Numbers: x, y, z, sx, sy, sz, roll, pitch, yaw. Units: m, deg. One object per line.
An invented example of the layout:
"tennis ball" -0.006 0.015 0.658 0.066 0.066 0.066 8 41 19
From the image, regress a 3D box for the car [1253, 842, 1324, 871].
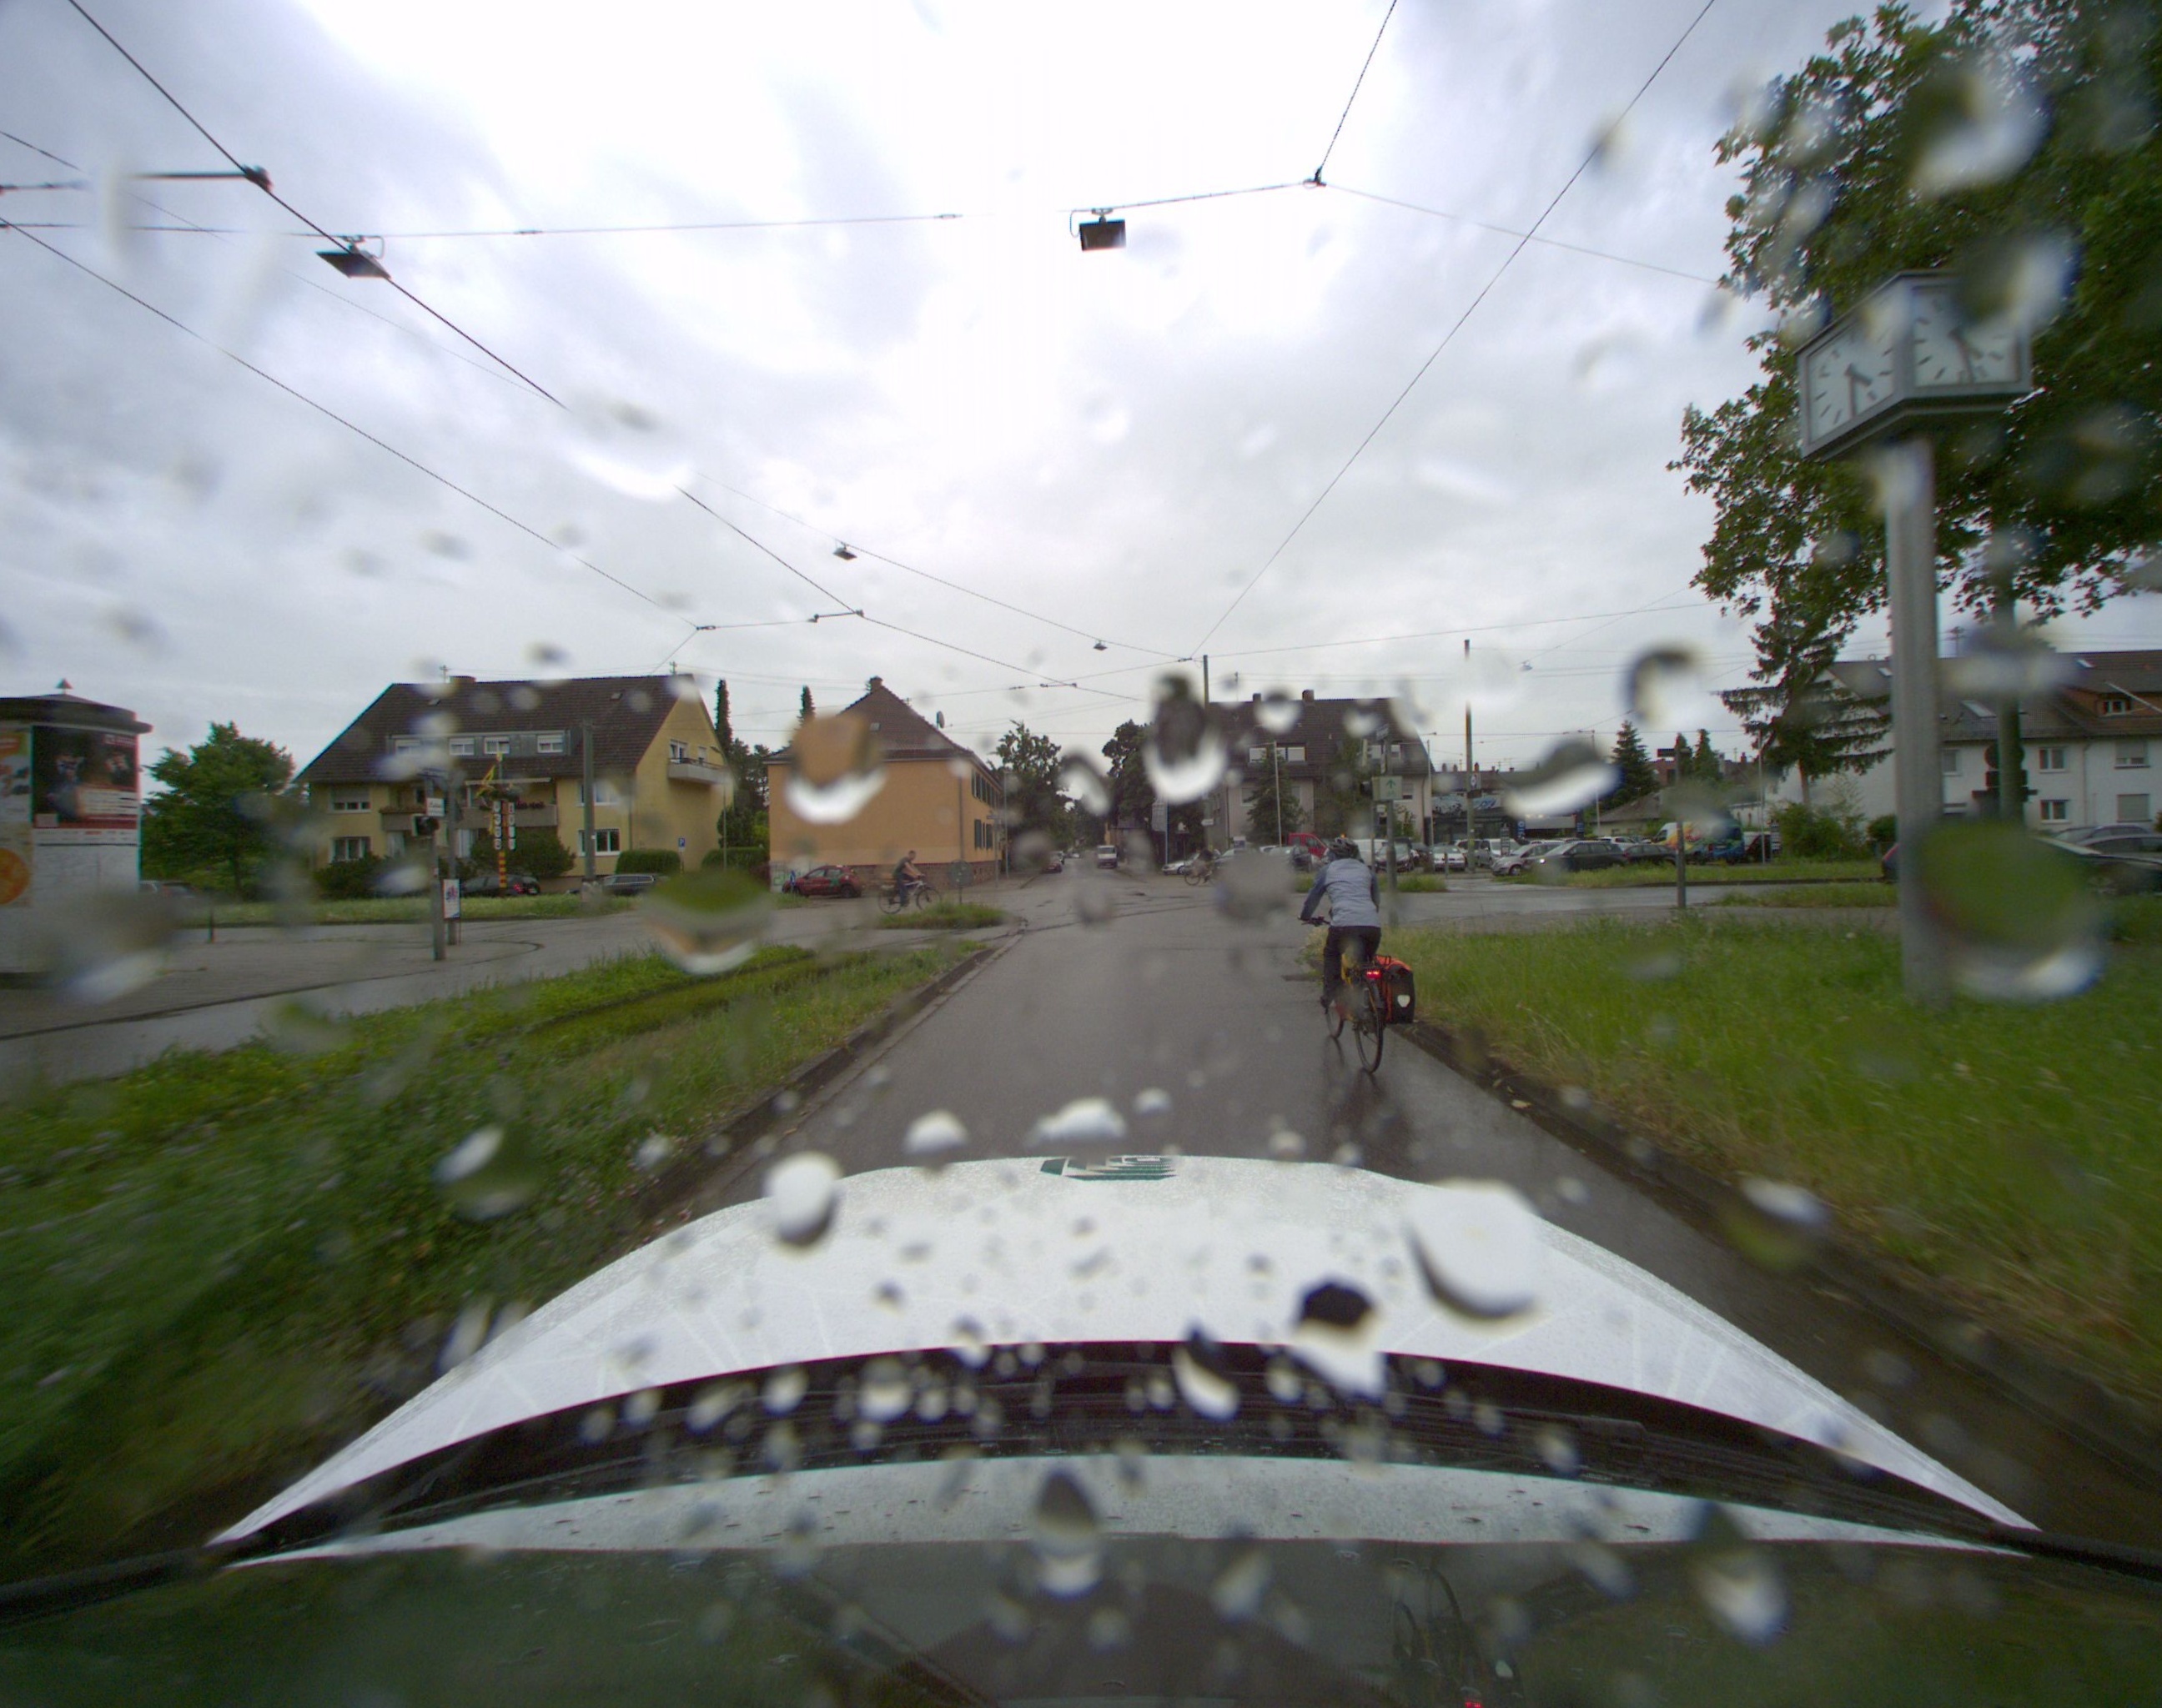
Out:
"car" 12.689 0.158 49.838 3.932 1.598 2.010 -2 -1 21

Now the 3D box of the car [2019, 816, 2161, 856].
"car" 42.635 -0.728 34.095 4.545 1.605 1.999 0 0 -2

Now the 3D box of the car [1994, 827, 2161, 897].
"car" 23.928 0.156 18.100 1.807 1.476 4.512 -2 0 -25

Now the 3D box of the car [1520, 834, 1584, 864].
"car" 25.801 -0.279 44.728 1.709 1.573 3.622 0 0 5

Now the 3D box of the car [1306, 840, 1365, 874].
"car" 13.937 0.122 44.465 1.974 1.717 4.026 -2 0 34

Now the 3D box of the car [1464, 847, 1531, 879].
"car" 22.828 0.465 44.780 1.794 1.578 3.875 -2 0 3

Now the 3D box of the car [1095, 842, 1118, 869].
"car" 2.544 0.153 82.152 2.147 2.572 4.131 0 0 -1

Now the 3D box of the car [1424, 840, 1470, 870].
"car" 19.816 0.054 44.171 1.813 1.504 4.077 0 0 17

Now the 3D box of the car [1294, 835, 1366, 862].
"car" 17.102 -0.364 56.081 4.414 1.687 2.002 -2 -1 3

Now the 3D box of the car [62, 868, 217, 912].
"car" -40.198 1.531 34.878 3.982 1.794 1.996 0 0 -6

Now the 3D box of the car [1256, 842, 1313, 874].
"car" 11.289 0.209 45.047 1.784 1.578 3.897 -3 0 34

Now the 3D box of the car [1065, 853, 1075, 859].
"car" -2.808 0.505 208.380 1.832 1.697 4.010 0 0 -15

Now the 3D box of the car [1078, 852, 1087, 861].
"car" 0.307 0.530 184.615 1.823 2.013 3.998 0 0 -1

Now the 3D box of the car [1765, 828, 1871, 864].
"car" 40.146 -0.435 44.432 3.869 1.565 2.000 -5 0 0

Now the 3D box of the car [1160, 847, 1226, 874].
"car" 7.319 0.422 53.165 3.871 1.578 1.796 -2 0 -19

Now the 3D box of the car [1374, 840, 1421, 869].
"car" 17.282 0.041 44.390 1.810 1.504 4.083 0 0 29

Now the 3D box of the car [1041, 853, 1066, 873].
"car" -2.321 0.789 70.018 1.988 1.618 3.998 -2 -1 -1

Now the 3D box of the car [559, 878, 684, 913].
"car" -20.824 1.872 37.056 4.477 1.396 1.966 -1 0 -1

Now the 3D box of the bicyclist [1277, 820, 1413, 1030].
"bicyclist" 2.013 0.516 6.329 0.748 1.485 0.847 -3 0 3

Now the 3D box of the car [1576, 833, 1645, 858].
"car" 37.180 -0.580 57.167 4.449 1.580 1.781 -2 -1 -21

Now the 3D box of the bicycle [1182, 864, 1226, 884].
"bicycle" 5.460 0.894 36.190 1.808 0.786 0.942 -2 0 -1

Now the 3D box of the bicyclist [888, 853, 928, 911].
"bicyclist" -4.715 0.753 22.267 0.908 1.558 0.833 -1 -1 -2

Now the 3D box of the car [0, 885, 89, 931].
"car" -38.794 1.974 29.166 3.975 1.476 1.999 -2 0 -1

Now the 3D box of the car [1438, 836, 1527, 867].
"car" 23.926 -0.148 48.689 4.414 1.687 1.762 -2 -1 3

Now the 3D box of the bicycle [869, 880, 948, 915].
"bicycle" -4.691 1.183 22.265 1.974 0.912 0.823 -1 -1 -2

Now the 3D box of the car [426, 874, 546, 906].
"car" -26.631 1.604 36.554 3.977 1.332 1.758 0 0 -2

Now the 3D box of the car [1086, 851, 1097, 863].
"car" 1.737 0.548 138.877 1.823 2.013 3.998 0 0 -1

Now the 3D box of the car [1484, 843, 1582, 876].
"car" 20.947 0.242 37.795 3.620 1.504 1.722 0 0 -1

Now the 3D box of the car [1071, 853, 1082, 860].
"car" -1.150 0.516 202.932 1.832 1.697 4.010 0 0 -15

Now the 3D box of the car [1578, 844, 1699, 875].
"car" 25.671 0.254 37.593 4.355 1.339 1.725 1 0 4

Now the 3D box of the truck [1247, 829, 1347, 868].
"truck" 14.007 -0.310 52.847 6.031 2.272 2.010 -2 -1 20

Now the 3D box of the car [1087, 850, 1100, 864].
"car" 1.778 0.502 119.908 1.823 2.013 3.998 0 0 -1

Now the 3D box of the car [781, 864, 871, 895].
"car" -11.716 1.151 37.561 3.595 1.339 1.722 0 0 -2

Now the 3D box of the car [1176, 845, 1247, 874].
"car" 7.948 0.356 49.725 3.871 1.578 1.796 -2 0 -19

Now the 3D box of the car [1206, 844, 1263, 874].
"car" 8.824 0.250 46.524 1.784 1.578 3.897 -3 0 34

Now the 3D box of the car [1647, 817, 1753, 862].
"car" 34.627 -0.767 45.776 2.137 2.406 5.150 0 0 1

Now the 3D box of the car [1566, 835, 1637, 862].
"car" 28.418 -0.297 44.582 1.709 1.396 3.847 0 0 4

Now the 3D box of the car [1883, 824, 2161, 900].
"car" 20.948 0.165 18.059 1.809 1.476 4.138 -2 0 -29

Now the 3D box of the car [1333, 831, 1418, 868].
"car" 17.670 -0.263 49.016 4.414 2.014 2.002 -2 -1 3

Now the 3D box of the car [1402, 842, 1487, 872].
"car" 22.670 0.195 50.916 4.414 1.687 2.002 -2 -1 3

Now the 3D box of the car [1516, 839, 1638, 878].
"car" 21.050 0.187 34.709 3.975 1.476 1.999 -2 0 -1

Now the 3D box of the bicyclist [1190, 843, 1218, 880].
"bicyclist" 5.477 0.341 36.186 1.036 1.598 0.949 -2 0 -1

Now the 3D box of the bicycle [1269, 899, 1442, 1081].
"bicycle" 2.041 0.956 6.363 0.749 1.073 1.929 -3 0 3
